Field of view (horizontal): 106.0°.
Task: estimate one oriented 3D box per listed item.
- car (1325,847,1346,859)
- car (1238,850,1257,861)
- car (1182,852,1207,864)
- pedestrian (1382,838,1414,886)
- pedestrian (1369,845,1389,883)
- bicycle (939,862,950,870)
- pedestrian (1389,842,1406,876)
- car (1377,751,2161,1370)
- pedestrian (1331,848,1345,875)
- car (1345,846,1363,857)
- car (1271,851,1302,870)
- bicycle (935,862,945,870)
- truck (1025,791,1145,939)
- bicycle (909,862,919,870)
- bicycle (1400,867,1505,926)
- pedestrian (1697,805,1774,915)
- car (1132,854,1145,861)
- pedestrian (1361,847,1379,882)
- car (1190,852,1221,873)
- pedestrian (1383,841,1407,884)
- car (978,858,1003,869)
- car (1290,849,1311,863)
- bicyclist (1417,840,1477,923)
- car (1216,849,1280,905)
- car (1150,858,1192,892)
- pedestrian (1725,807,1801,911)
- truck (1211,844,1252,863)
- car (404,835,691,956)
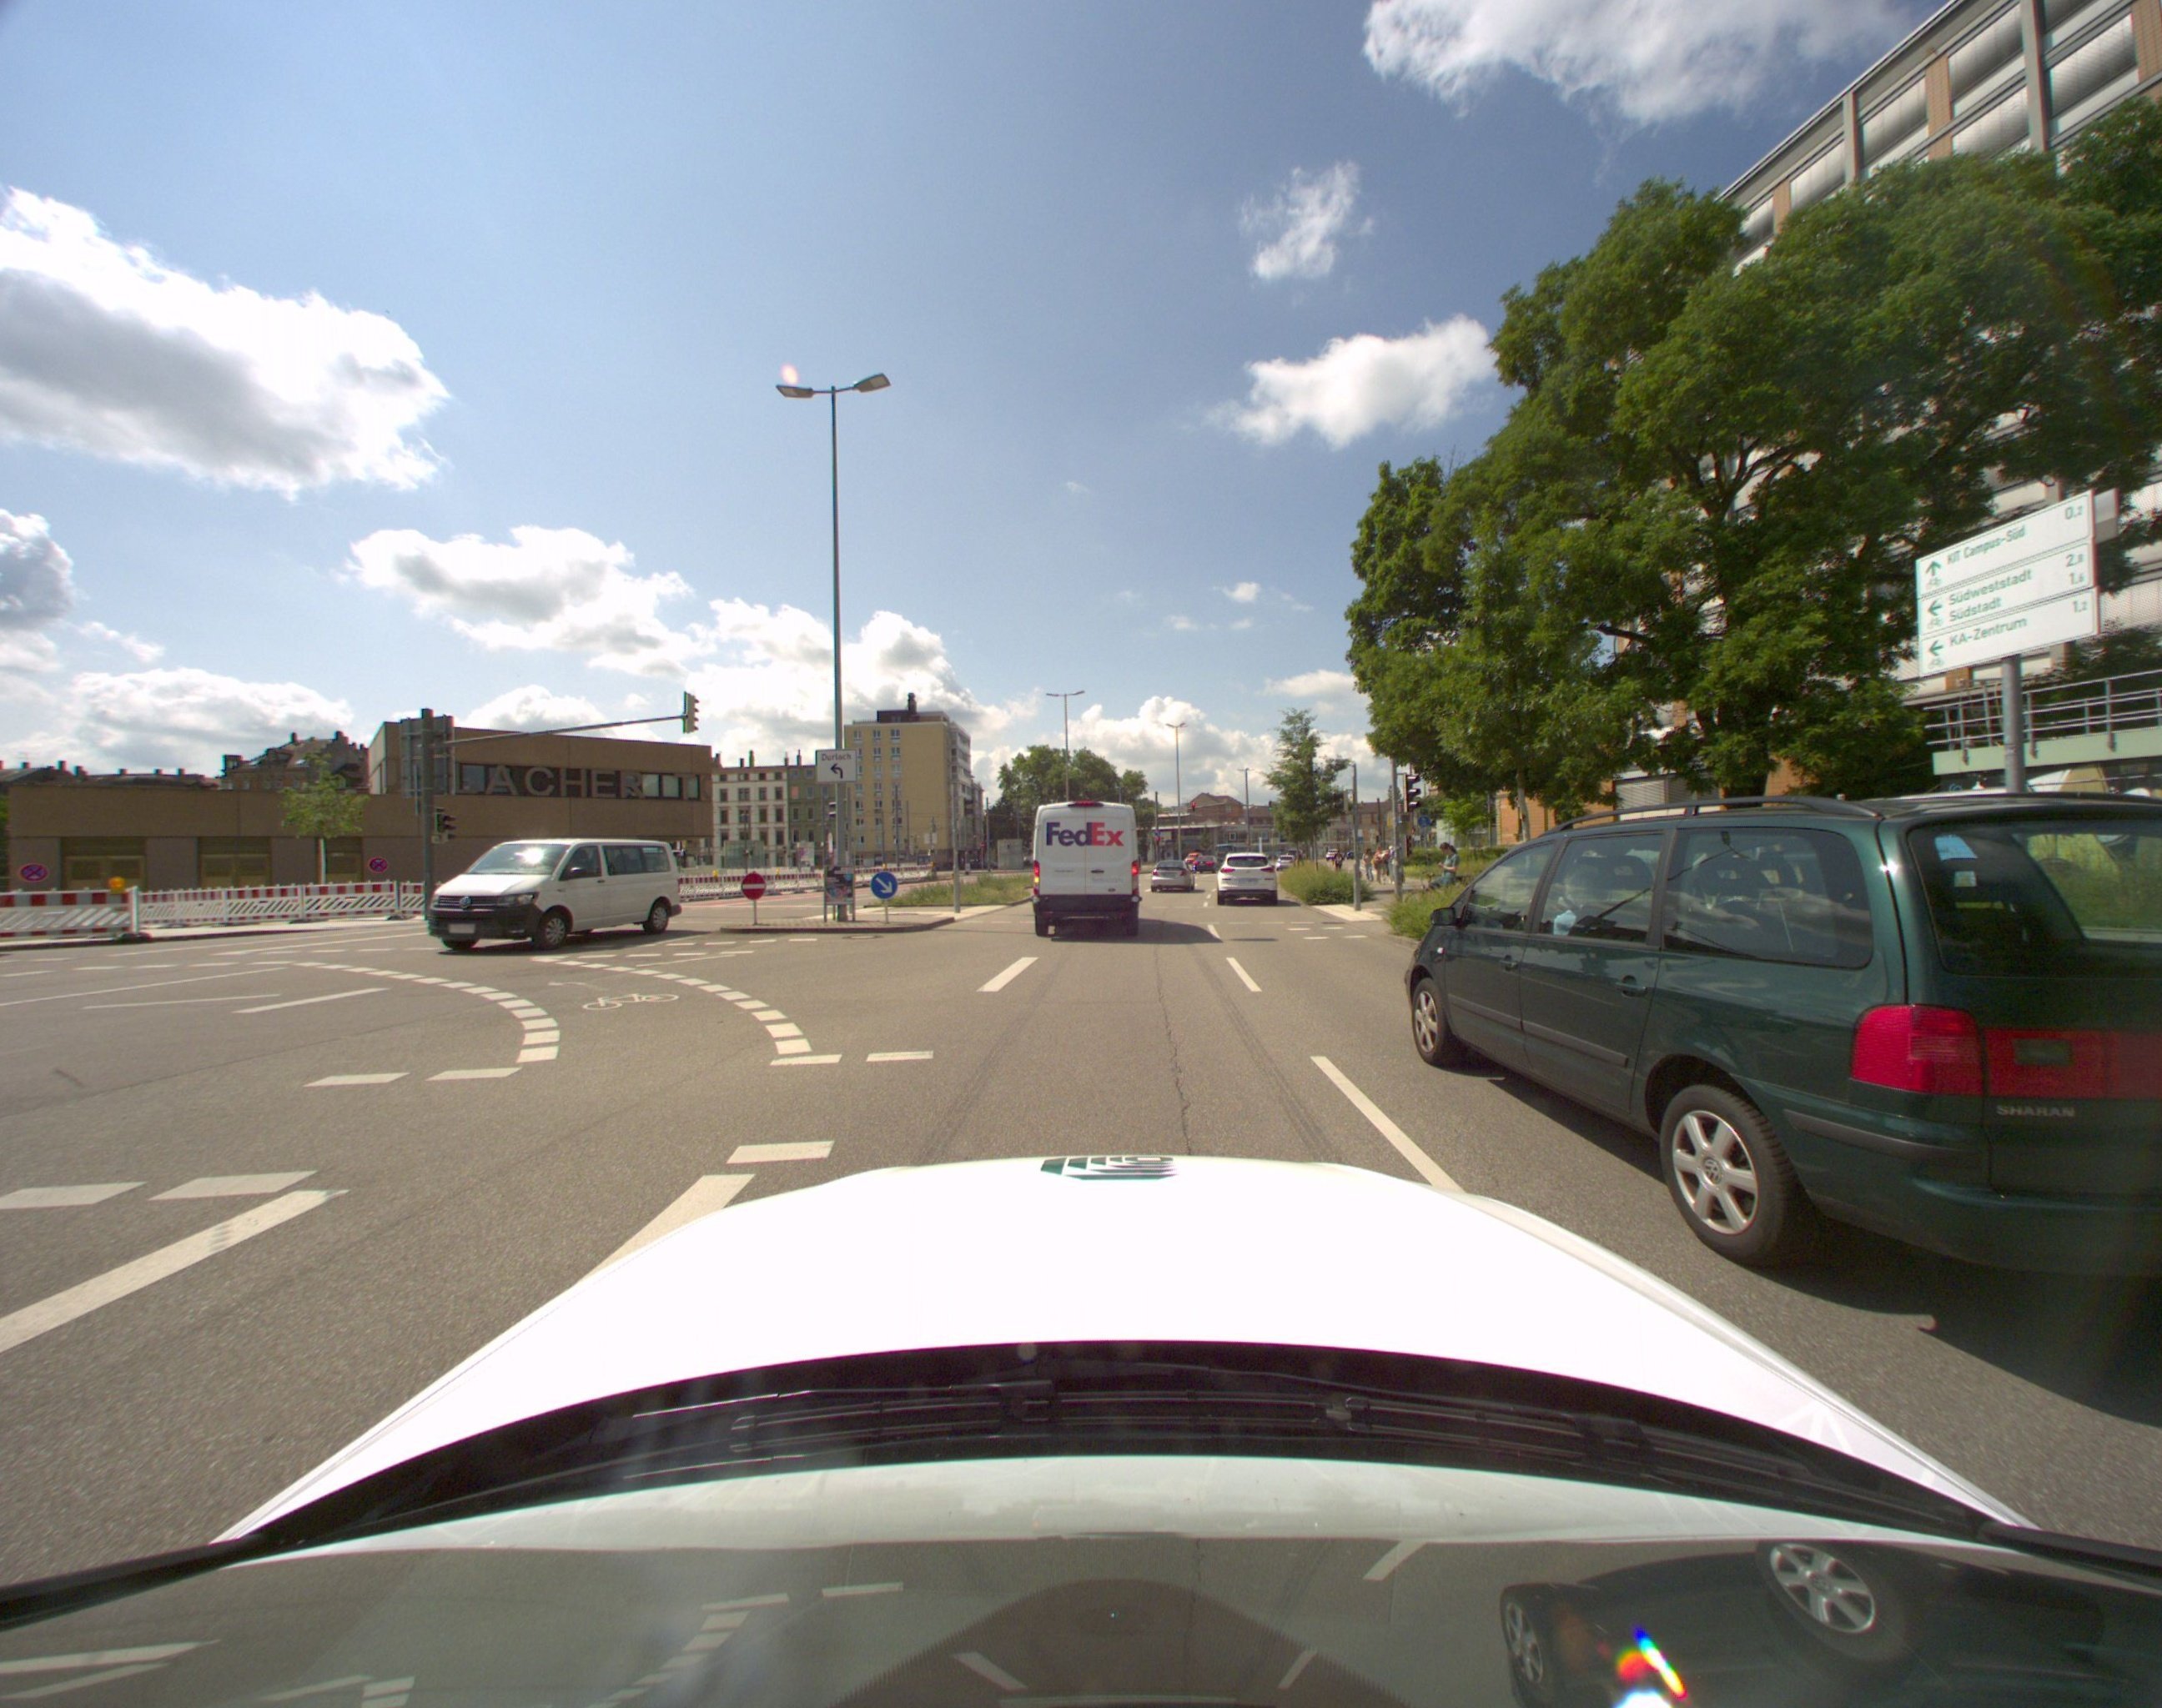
[{"bbox_3d":[36.821,-0.099,117.956,1.863,1.641,3.982,-2,0,33],"label":"car"},{"bbox_3d":[25.646,0.228,125.118,1.637,1.469,4.179,-2,0,28],"label":"car"},{"bbox_3d":[17.856,0.638,128.237,1.701,1.800,4.771,-3,-1,38],"label":"car"},{"bbox_3d":[12.431,0.308,31.986,0.754,1.821,0.779,-5,-1,-5],"label":"pedestrian"},{"bbox_3d":[12.878,0.431,35.230,0.585,1.626,0.728,0,-1,2],"label":"pedestrian"},{"bbox_3d":[-20.978,1.826,124.826,2.108,1.147,0.514,-1,-2,45],"label":"bicycle"},{"bbox_3d":[17.112,0.258,44.013,0.750,1.821,0.676,-1,-1,14],"label":"pedestrian"},{"bbox_3d":[3.273,0.582,4.496,1.787,1.723,4.450,0,0,2],"label":"car"},{"bbox_3d":[15.228,0.460,48.205,0.750,1.590,0.764,-1,-1,17],"label":"pedestrian"},{"bbox_3d":[42.426,-0.349,126.622,1.863,1.641,3.981,-2,0,29],"label":"car"},{"bbox_3d":[19.099,0.563,75.570,1.864,1.641,3.980,-2,0,26],"label":"car"},{"bbox_3d":[-21.567,1.826,124.536,0.537,1.147,2.108,1,-2,-45],"label":"bicycle"},{"bbox_3d":[0.195,0.220,17.655,2.128,2.640,5.920,-1,-1,2],"label":"truck"},{"bbox_3d":[-25.521,1.852,124.424,0.514,1.147,2.109,1,-2,-42],"label":"bicycle"},{"bbox_3d":[7.542,0.860,16.583,1.803,1.050,0.592,-4,-2,0],"label":"bicycle"},{"bbox_3d":[11.213,0.098,13.976,0.747,1.802,0.609,-3,0,0],"label":"pedestrian"},{"bbox_3d":[12.134,0.776,172.422,1.979,1.574,4.195,-1,-1,15],"label":"car"},{"bbox_3d":[13.765,0.506,38.797,0.645,1.626,0.778,-4,-2,17],"label":"pedestrian"},{"bbox_3d":[10.435,0.658,67.822,1.913,1.641,4.813,-2,0,16],"label":"car"},{"bbox_3d":[13.544,0.365,35.122,0.753,1.821,0.638,0,-1,2],"label":"pedestrian"},{"bbox_3d":[-15.571,1.693,140.424,4.082,1.858,1.985,0,-1,2],"label":"car"},{"bbox_3d":[27.397,0.269,101.506,1.864,1.641,3.980,-2,0,25],"label":"car"},{"bbox_3d":[7.446,0.550,16.593,0.825,1.601,0.579,-4,-2,0],"label":"bicyclist"},{"bbox_3d":[5.391,0.696,26.720,1.870,1.641,4.244,-2,0,9],"label":"car"},{"bbox_3d":[4.057,0.898,36.499,1.732,1.391,4.187,-2,0,7],"label":"car"},{"bbox_3d":[12.043,0.082,14.400,0.747,1.752,0.609,-3,0,0],"label":"pedestrian"},{"bbox_3d":[23.778,-0.136,128.256,2.857,2.852,8.849,-2,0,36],"label":"truck"},{"bbox_3d":[-9.765,0.662,15.535,1.872,1.894,4.877,-2,0,6],"label":"car"}]
